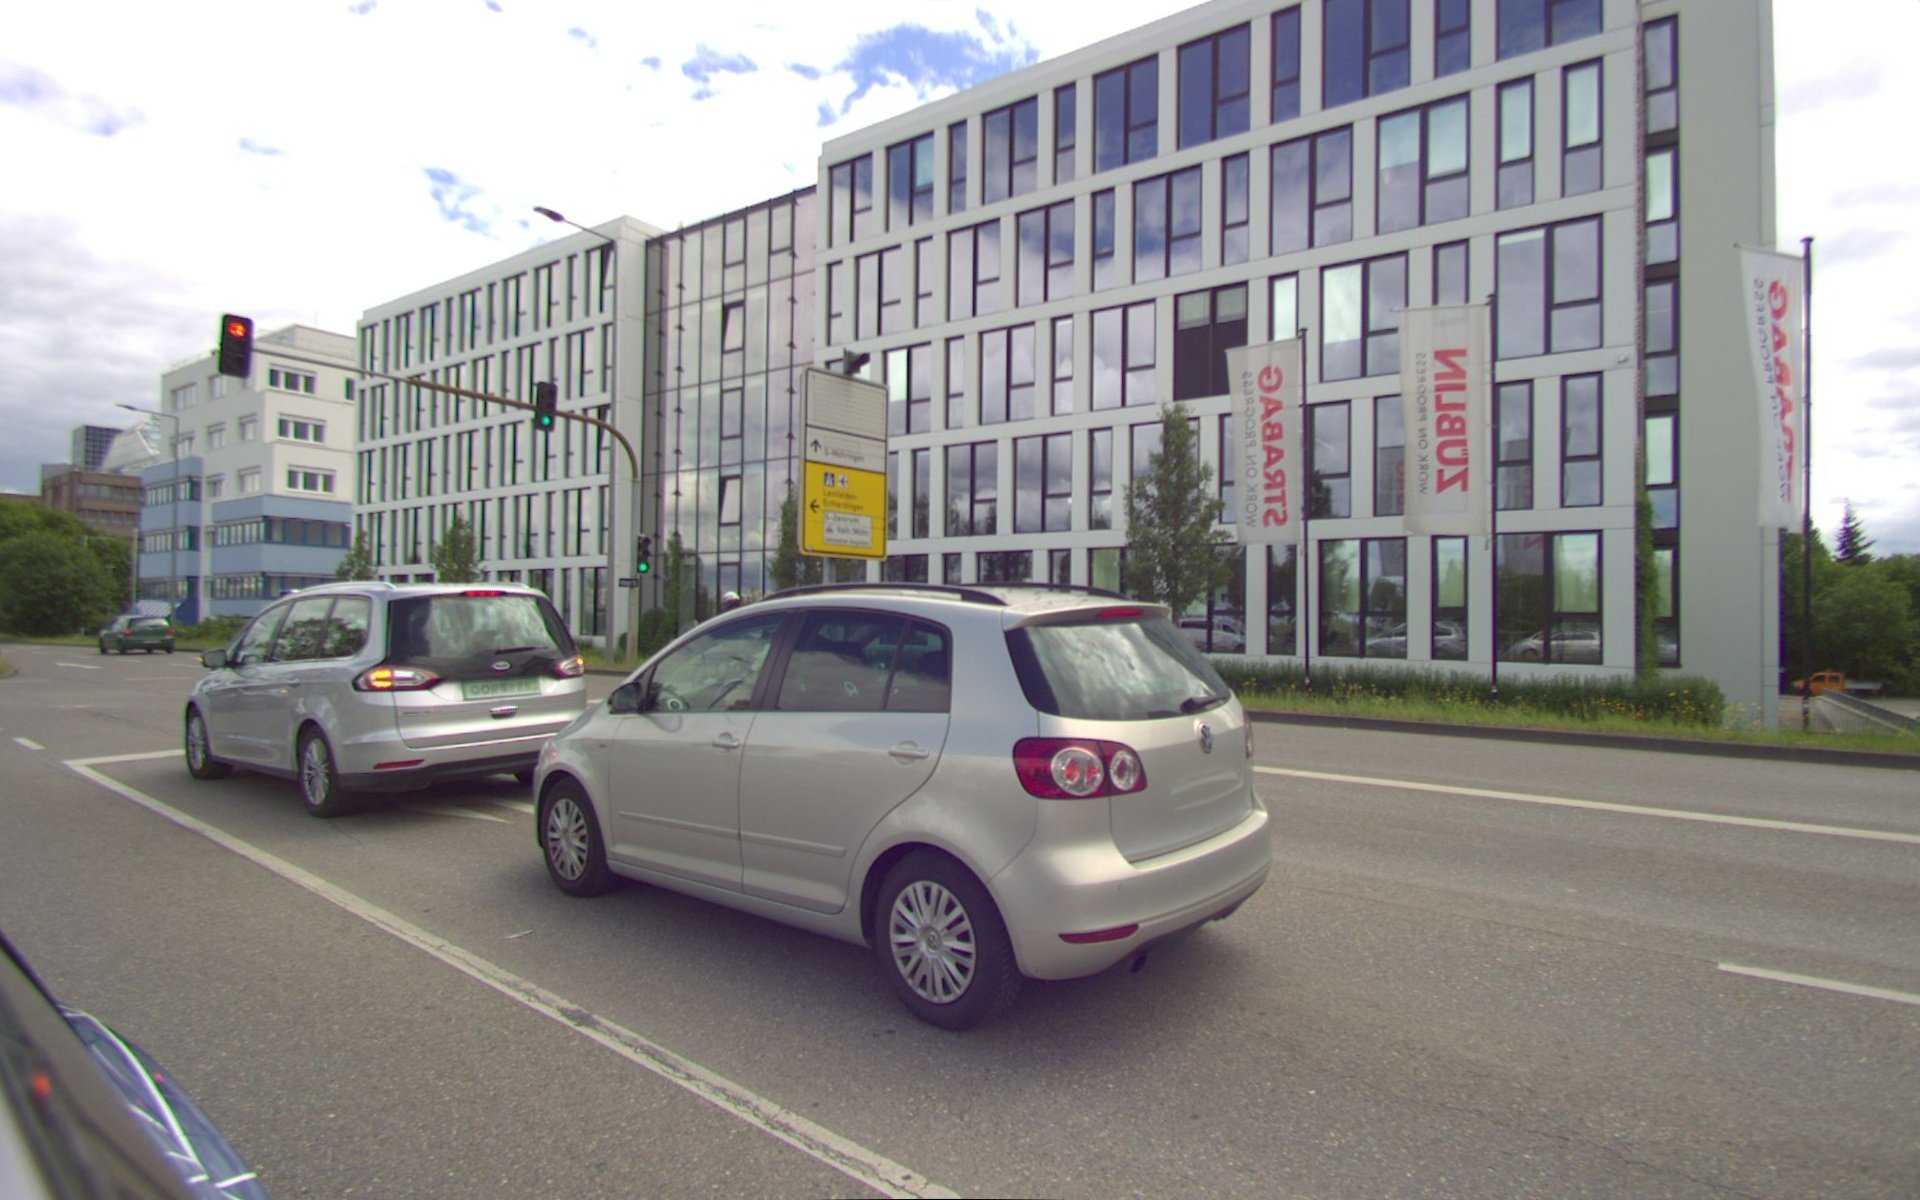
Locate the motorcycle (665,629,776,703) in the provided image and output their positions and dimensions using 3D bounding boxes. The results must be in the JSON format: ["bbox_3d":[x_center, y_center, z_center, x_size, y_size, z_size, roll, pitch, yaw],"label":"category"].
[{"bbox_3d":[-3.860,1.029,16.237,1.930,1.121,0.648,-1,-1,36],"label":"motorcycle"}]

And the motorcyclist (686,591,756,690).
[{"bbox_3d":[-3.840,0.636,16.230,0.916,1.521,0.648,-1,-1,36],"label":"motorcyclist"}]

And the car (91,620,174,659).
[{"bbox_3d":[-31.144,1.468,38.061,3.633,1.402,1.590,-1,-1,36],"label":"car"}]

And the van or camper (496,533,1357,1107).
[{"bbox_3d":[-0.453,0.657,4.860,4.043,1.622,1.726,-1,-1,41],"label":"van or camper"}]

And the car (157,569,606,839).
[{"bbox_3d":[-5.020,0.695,8.519,4.366,1.707,1.849,-1,-1,39],"label":"car"}]

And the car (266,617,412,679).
[{"bbox_3d":[-15.061,1.129,24.502,3.631,1.365,1.729,-1,-1,35],"label":"car"}]

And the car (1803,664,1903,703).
[{"bbox_3d":[68.913,6.438,78.257,5.604,2.663,1.944,-1,0,38],"label":"car"}]
